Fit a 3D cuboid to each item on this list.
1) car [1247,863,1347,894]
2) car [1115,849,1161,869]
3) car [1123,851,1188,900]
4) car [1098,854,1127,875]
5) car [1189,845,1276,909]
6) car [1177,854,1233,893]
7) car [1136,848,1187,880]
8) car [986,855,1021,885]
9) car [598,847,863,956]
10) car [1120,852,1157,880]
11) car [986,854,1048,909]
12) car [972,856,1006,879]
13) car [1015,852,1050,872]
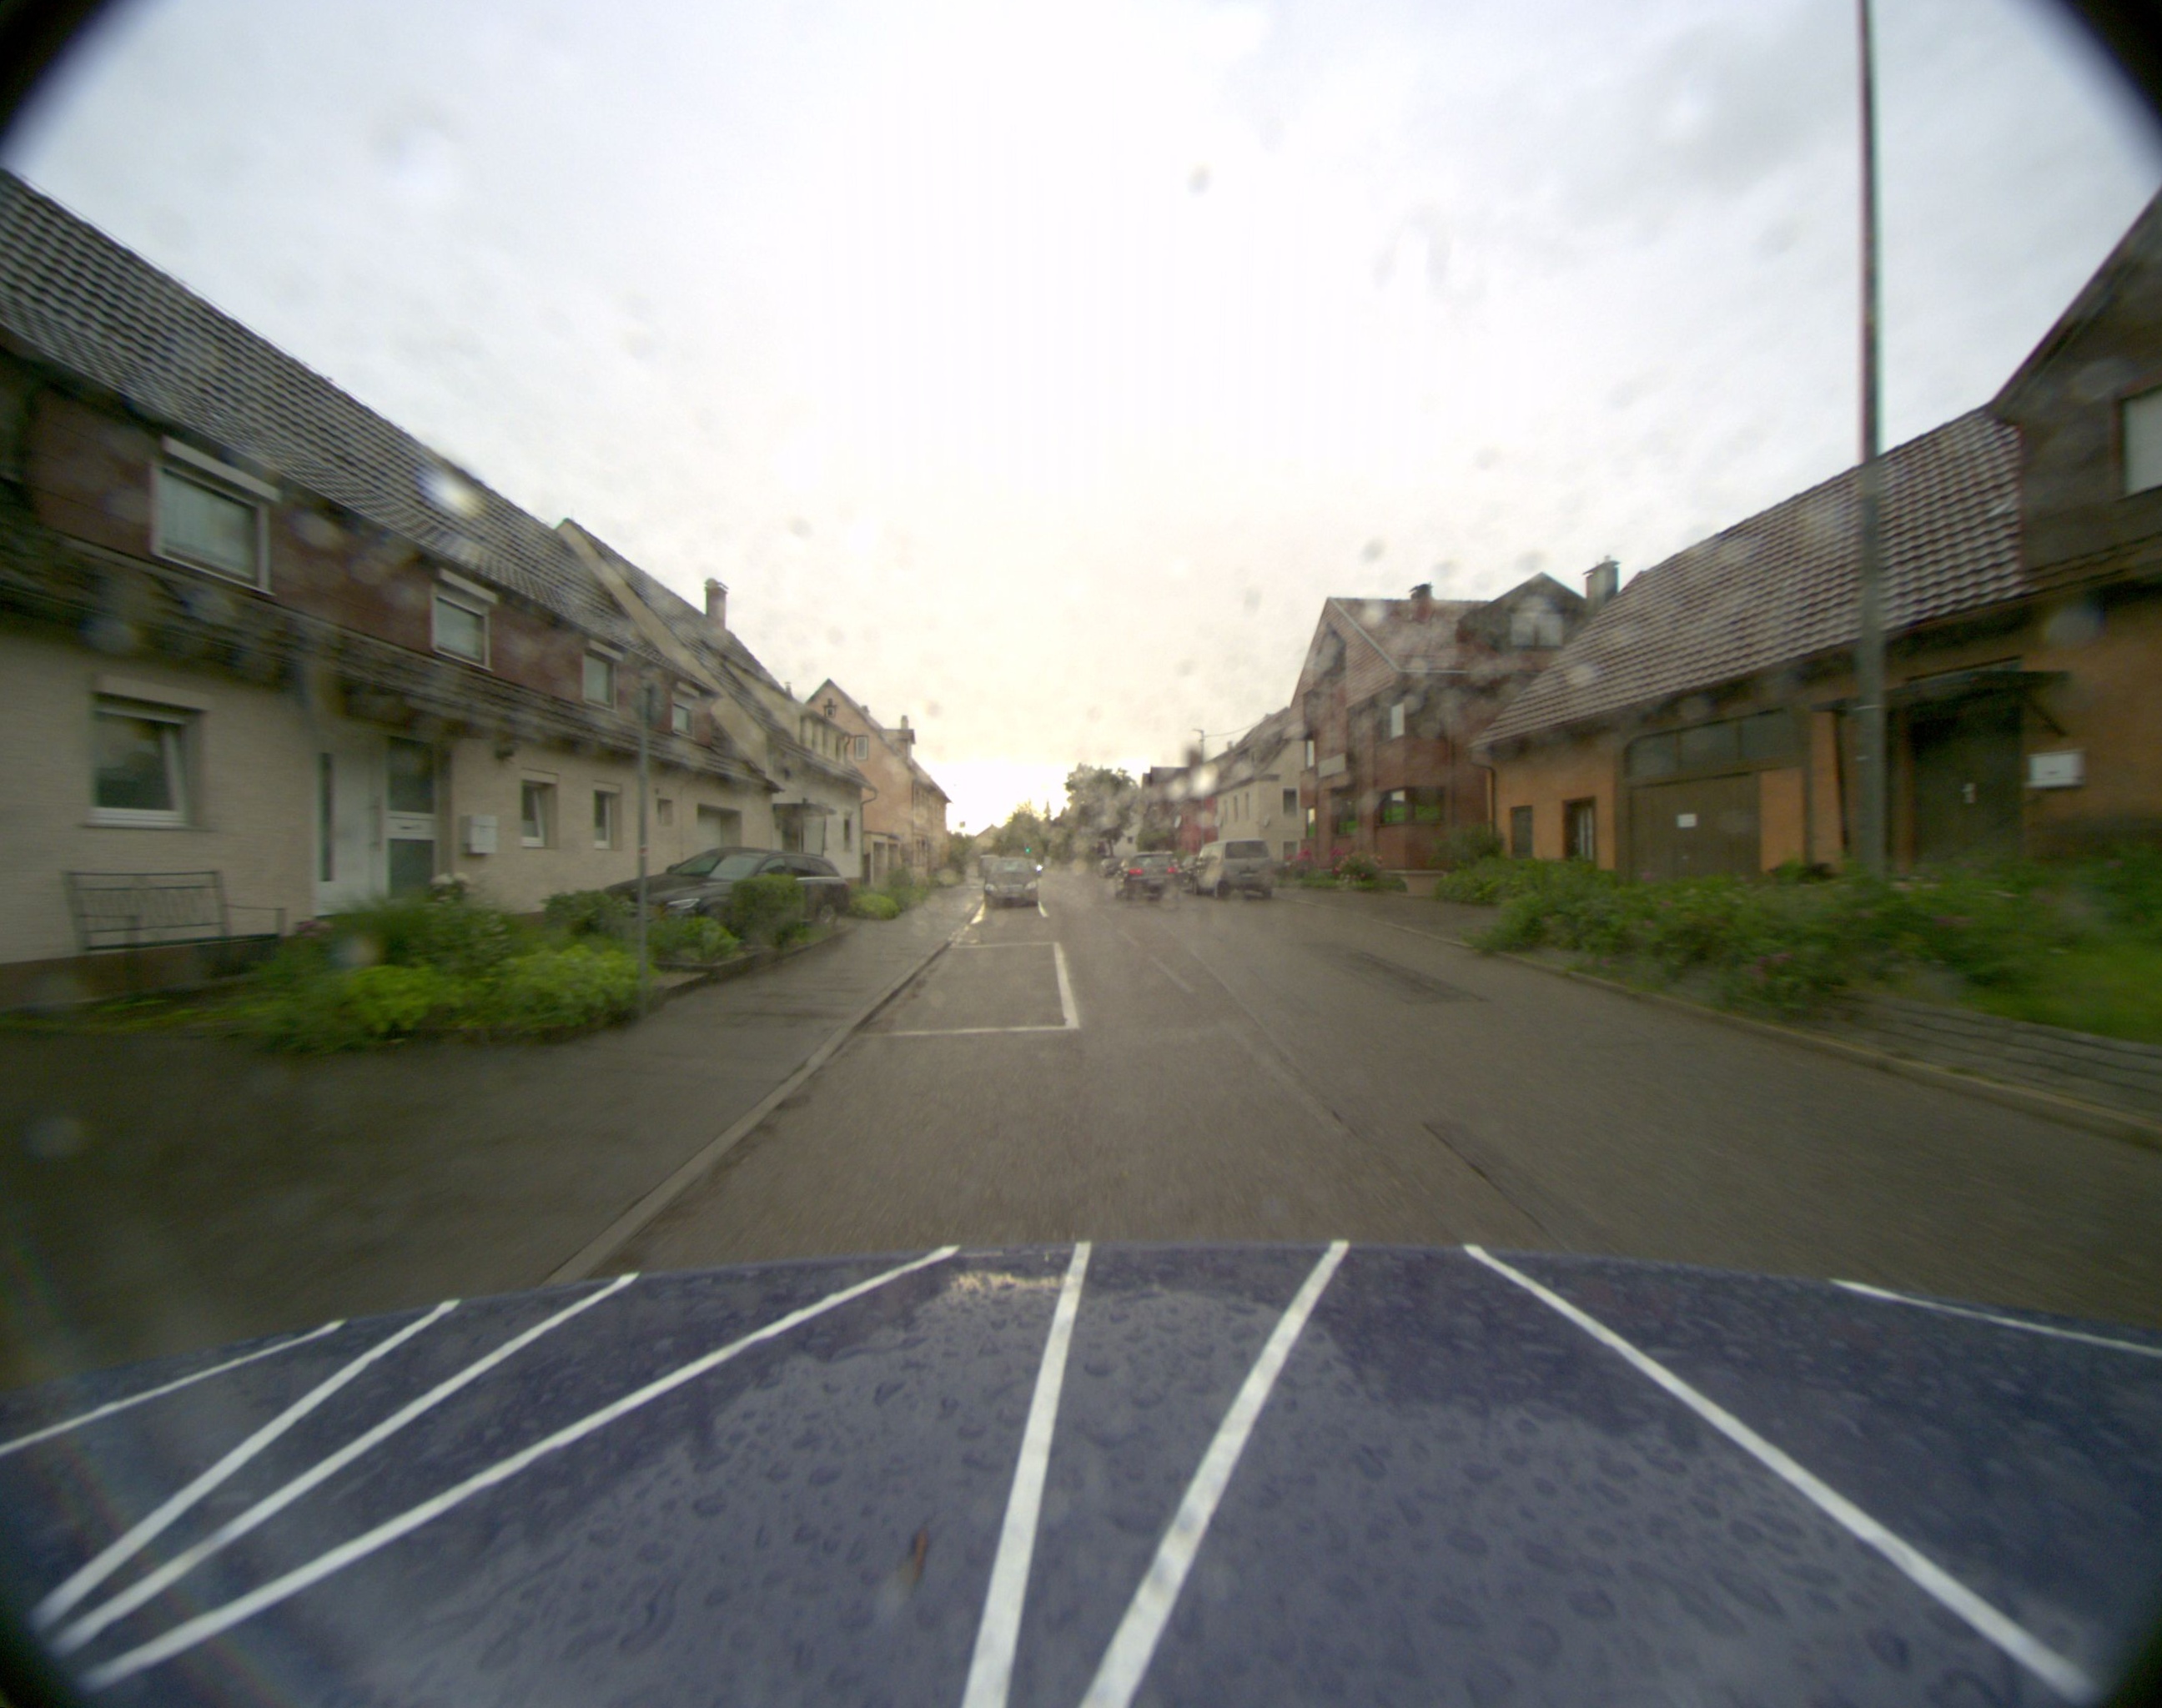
[{"bbox_3d":[10.021,1.115,35.486,4.182,1.395,1.789,0,1,1],"label":"car"},{"bbox_3d":[4.774,0.390,63.937,3.585,1.497,1.855,-3,1,-3],"label":"car"},{"bbox_3d":[2.565,0.698,27.029,1.803,1.630,3.999,0,0,-2],"label":"car"},{"bbox_3d":[2.256,0.725,55.238,1.631,1.348,4.108,-3,1,-4],"label":"car"},{"bbox_3d":[5.150,0.707,26.523,1.826,2.002,5.213,0,0,-2],"label":"car"},{"bbox_3d":[5.000,0.755,31.116,1.582,1.488,3.566,0,0,-2],"label":"car"},{"bbox_3d":[4.222,0.490,40.628,1.770,1.610,4.653,0,0,-6],"label":"car"},{"bbox_3d":[-4.633,0.897,44.782,1.808,1.586,4.607,-2,1,-9],"label":"car"},{"bbox_3d":[-5.648,0.702,12.866,1.760,1.386,4.006,5,1,17],"label":"car"},{"bbox_3d":[3.407,0.708,45.419,1.610,1.608,3.274,0,0,-7],"label":"car"},{"bbox_3d":[-2.133,0.871,26.136,1.754,1.700,4.000,0,0,0],"label":"car"},{"bbox_3d":[-8.209,1.137,67.456,1.938,1.891,4.785,-3,1,-18],"label":"car"},{"bbox_3d":[-4.124,0.659,64.336,1.919,1.652,3.993,0,0,-19],"label":"car"}]
